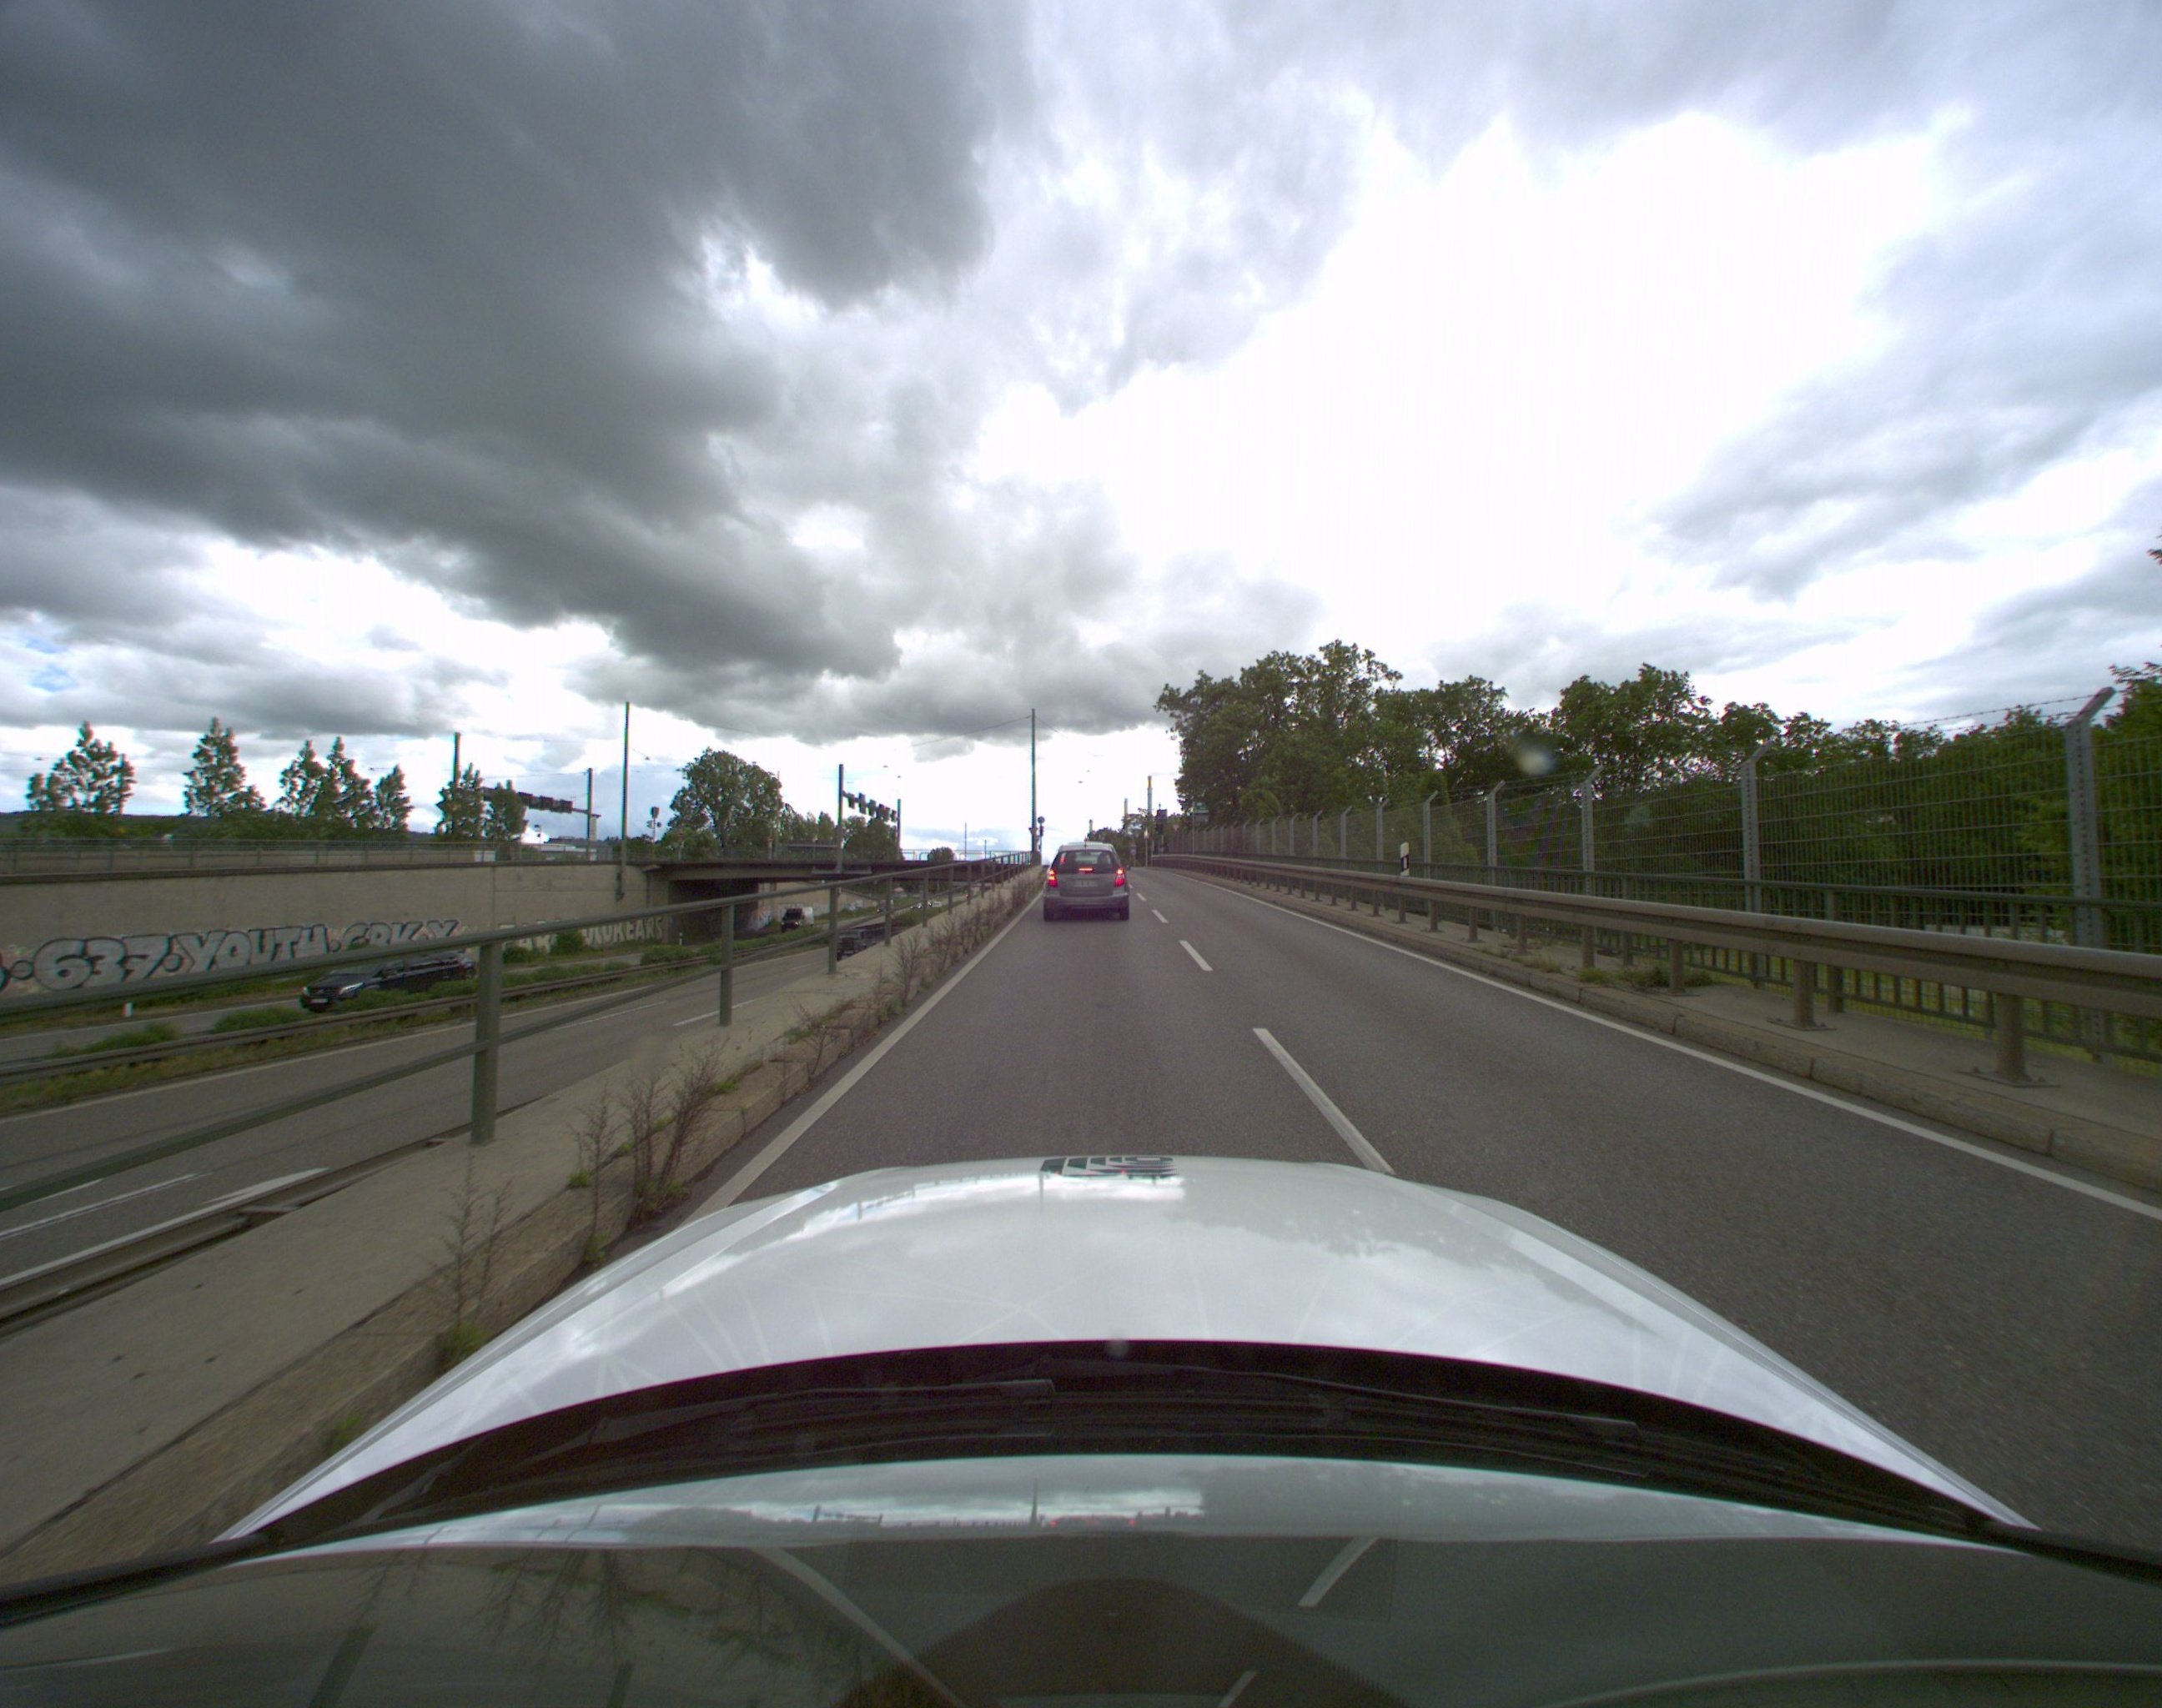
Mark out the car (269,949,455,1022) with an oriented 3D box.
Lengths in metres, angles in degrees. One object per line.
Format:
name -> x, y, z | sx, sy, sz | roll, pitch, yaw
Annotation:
car -> -25.452, 4.589, 29.164 | 2.086, 1.989, 5.112 | -2, -3, -1

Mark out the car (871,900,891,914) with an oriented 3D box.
car -> -34.157, 9.053, 139.213 | 2.287, 2.156, 6.169 | -1, -3, -6

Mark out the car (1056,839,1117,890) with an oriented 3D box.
car -> 0.206, 0.311, 29.114 | 1.987, 1.603, 4.001 | -1, 2, 1

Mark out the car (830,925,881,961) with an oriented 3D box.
car -> -12.883, 5.063, 46.673 | 1.674, 1.736, 3.999 | -2, -3, 2

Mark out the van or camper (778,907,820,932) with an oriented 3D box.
van or camper -> -29.272, 6.796, 84.782 | 2.175, 2.457, 6.344 | 0, -3, 0

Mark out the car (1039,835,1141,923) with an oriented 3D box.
car -> 0.318, 0.447, 17.927 | 1.740, 1.580, 4.095 | 0, 3, 7
